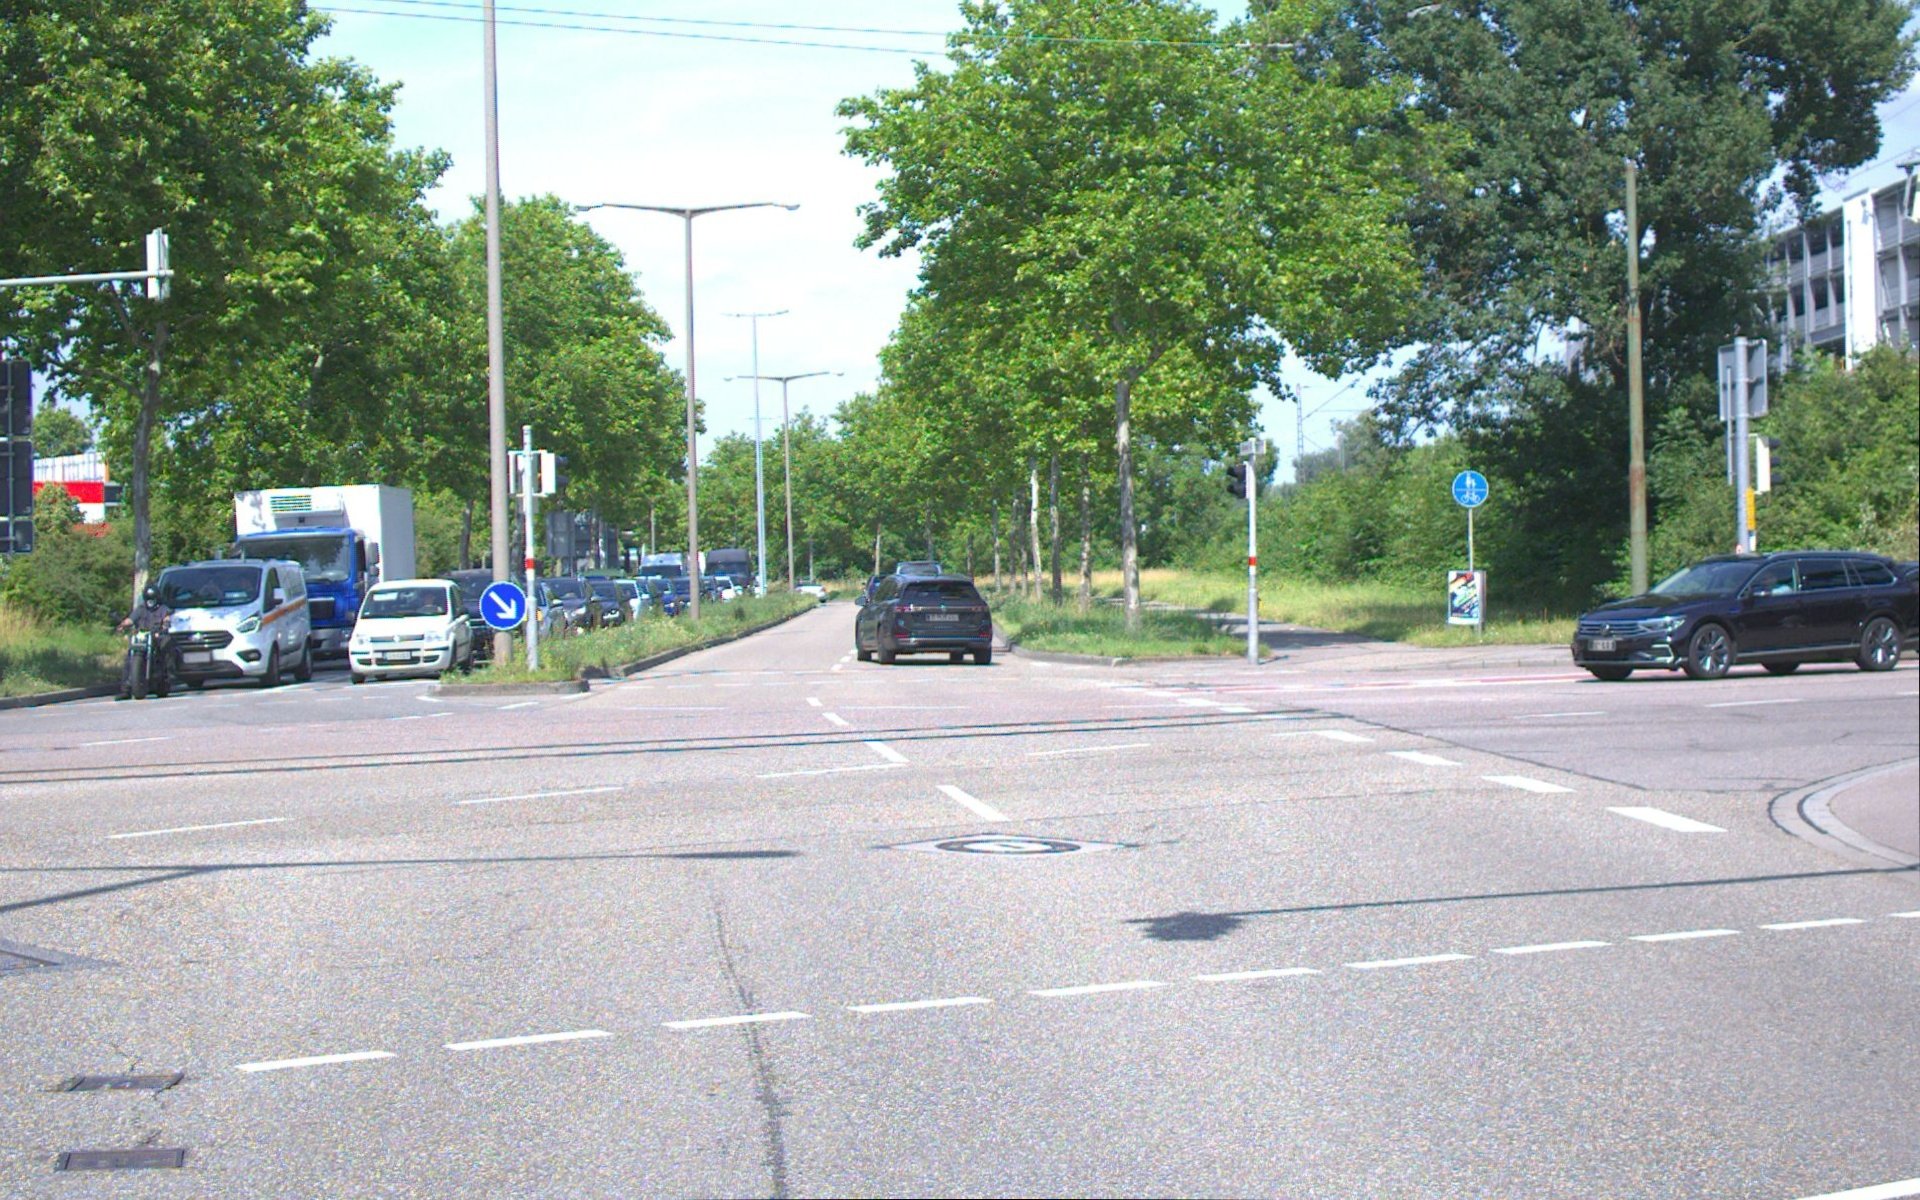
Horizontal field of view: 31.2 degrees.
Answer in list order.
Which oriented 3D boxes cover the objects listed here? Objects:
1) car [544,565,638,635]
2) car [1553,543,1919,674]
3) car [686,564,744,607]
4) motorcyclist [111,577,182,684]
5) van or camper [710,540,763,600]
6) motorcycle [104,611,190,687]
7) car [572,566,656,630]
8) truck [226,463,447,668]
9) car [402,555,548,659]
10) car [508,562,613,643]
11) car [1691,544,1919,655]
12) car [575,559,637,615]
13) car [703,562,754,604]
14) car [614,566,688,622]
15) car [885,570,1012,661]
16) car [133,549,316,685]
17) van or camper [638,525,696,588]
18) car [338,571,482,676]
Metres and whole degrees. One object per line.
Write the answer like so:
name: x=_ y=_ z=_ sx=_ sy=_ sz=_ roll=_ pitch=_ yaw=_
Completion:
car: x=-8.477 y=-0.029 z=79.248 sx=1.689 sy=1.468 sz=4.218 roll=-3 pitch=1 yaw=-1
car: x=9.248 y=0.071 z=40.689 sx=4.208 sy=1.438 sz=1.790 roll=-1 pitch=1 yaw=-30
car: x=-8.906 y=-0.552 z=125.209 sx=1.783 sy=1.454 sz=4.472 roll=-2 pitch=1 yaw=-1
motorcyclist: x=-11.418 y=0.426 z=48.261 sx=0.743 sy=1.465 sz=0.987 roll=-1 pitch=1 yaw=-1
van or camper: x=-9.138 y=-1.205 z=140.722 sx=1.938 sy=2.360 sz=5.398 roll=-2 pitch=0 yaw=-2
motorcycle: x=-11.381 y=0.671 z=48.170 sx=0.688 sy=0.988 sz=2.217 roll=-1 pitch=1 yaw=-1
car: x=-8.523 y=-0.060 z=84.885 sx=1.689 sy=1.467 sz=3.815 roll=-2 pitch=1 yaw=-1
truck: x=-11.419 y=-0.661 z=63.575 sx=2.804 sy=3.459 sz=6.692 roll=-3 pitch=1 yaw=-1
car: x=-8.193 y=0.127 z=58.457 sx=1.820 sy=1.641 sz=4.694 roll=-2 pitch=0 yaw=-1
car: x=-8.337 y=0.029 z=71.974 sx=1.689 sy=1.581 sz=4.240 roll=-2 pitch=1 yaw=-1
car: x=12.664 y=-0.044 z=48.079 sx=4.606 sy=1.458 sz=1.914 roll=-1 pitch=1 yaw=-28
car: x=-12.228 y=-0.446 z=118.918 sx=1.689 sy=1.852 sz=4.036 roll=-2 pitch=0 yaw=-1
car: x=-8.873 y=-0.658 z=131.899 sx=1.689 sy=1.505 sz=3.815 roll=-2 pitch=1 yaw=-1
car: x=-8.753 y=-0.190 z=97.581 sx=1.784 sy=1.484 sz=4.212 roll=-2 pitch=1 yaw=-2
car: x=-0.232 y=0.220 z=56.450 sx=1.834 sy=1.386 sz=4.265 roll=-1 pitch=1 yaw=-3
car: x=-11.342 y=0.214 z=53.338 sx=1.976 sy=1.992 sz=5.032 roll=-1 pitch=1 yaw=-3
van or camper: x=-12.570 y=-1.873 z=147.888 sx=2.015 sy=2.579 sz=5.517 roll=-2 pitch=1 yaw=-1
car: x=-8.374 y=0.324 z=52.585 sx=1.593 sy=1.472 sz=3.729 roll=-2 pitch=1 yaw=-1
